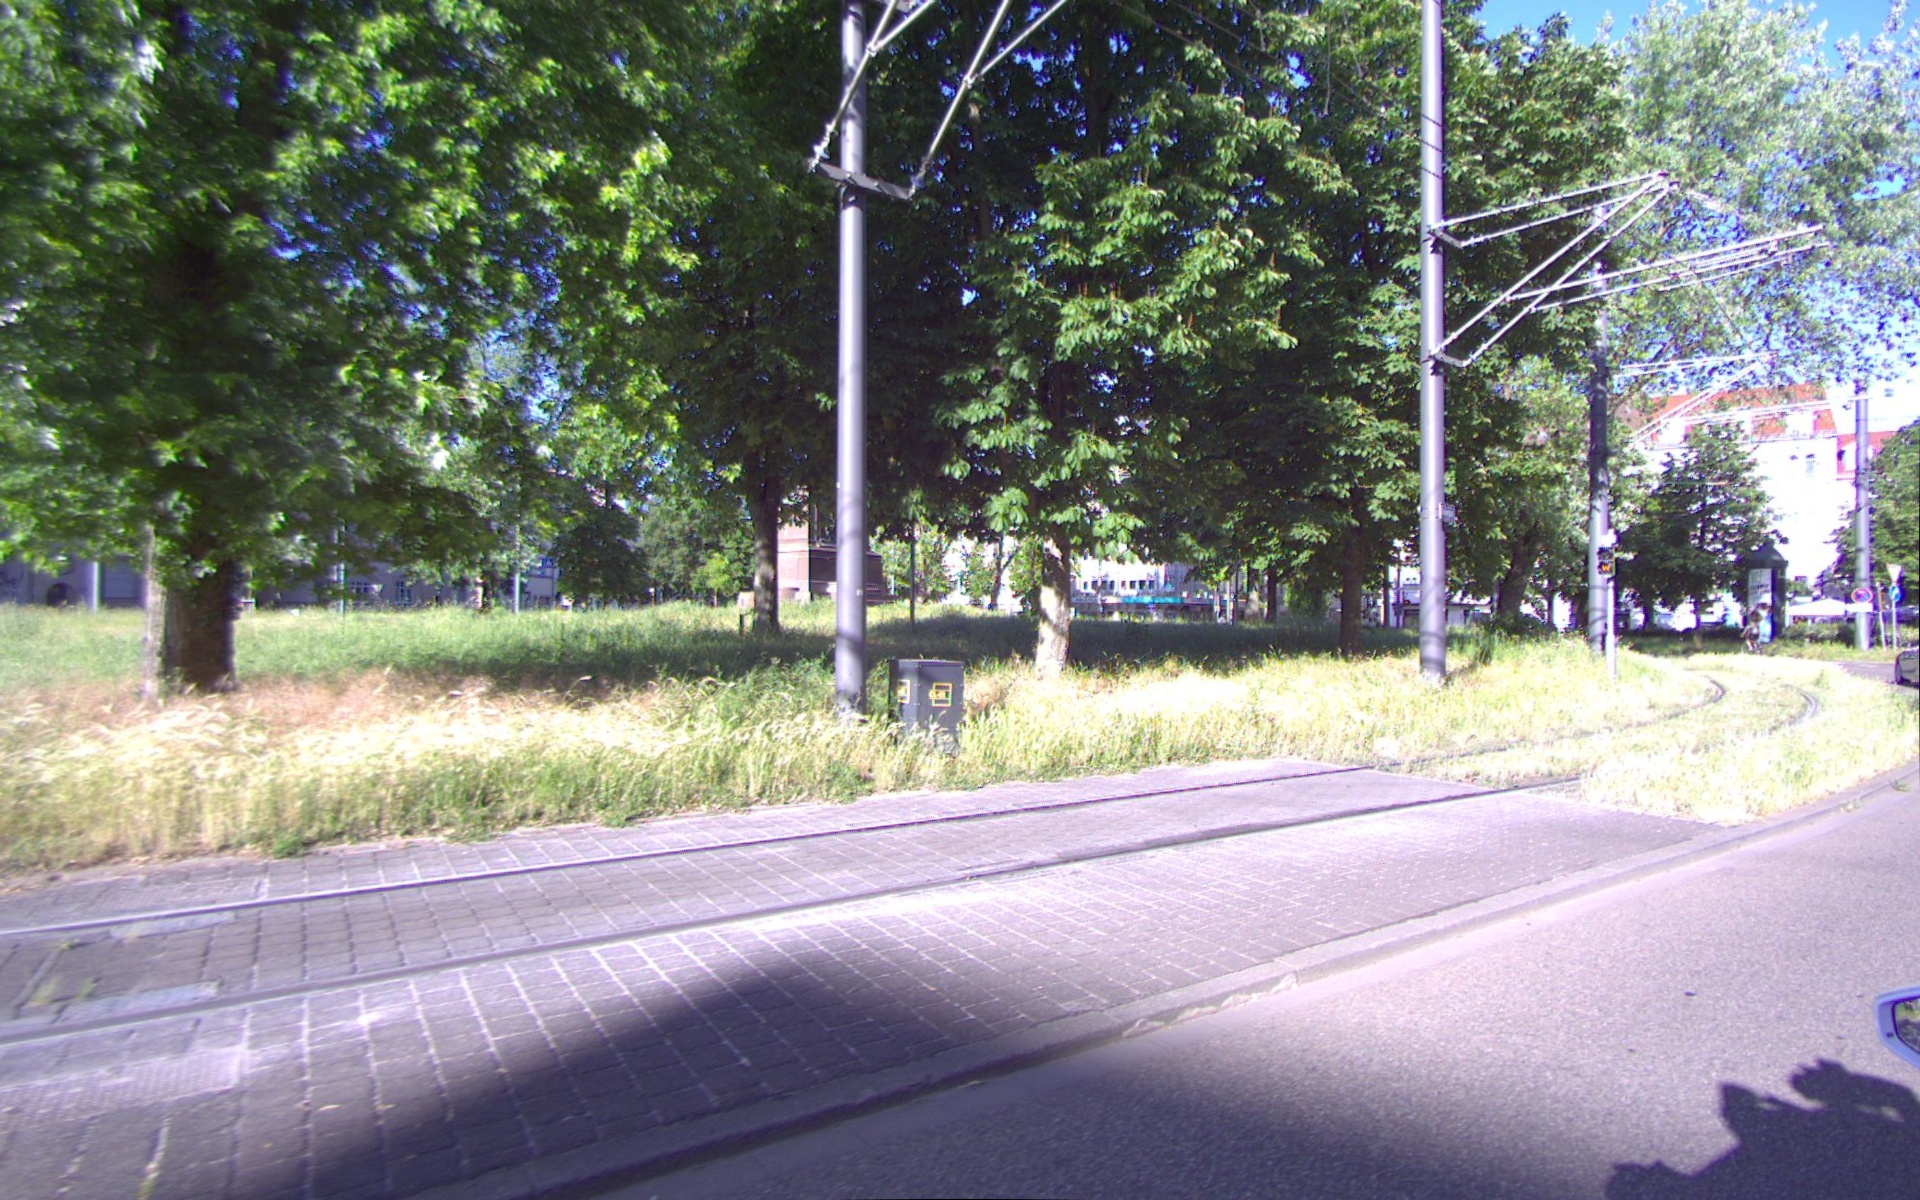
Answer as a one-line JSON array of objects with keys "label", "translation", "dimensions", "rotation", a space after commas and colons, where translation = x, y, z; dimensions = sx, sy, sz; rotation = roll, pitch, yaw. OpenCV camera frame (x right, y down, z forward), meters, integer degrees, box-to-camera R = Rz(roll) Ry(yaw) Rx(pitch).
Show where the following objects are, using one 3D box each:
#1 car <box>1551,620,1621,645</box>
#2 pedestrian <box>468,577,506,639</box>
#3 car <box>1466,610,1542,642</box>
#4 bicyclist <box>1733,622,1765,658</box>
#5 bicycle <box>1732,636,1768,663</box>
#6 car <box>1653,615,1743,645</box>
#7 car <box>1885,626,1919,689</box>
[{"label": "car", "translation": [52.055, 2.719, 83.548], "dimensions": [4.791, 1.828, 1.903], "rotation": [2, 0, 35]}, {"label": "pedestrian", "translation": [-12.838, 0.219, 27.272], "dimensions": [0.661, 1.637, 0.555], "rotation": [2, 0, 4]}, {"label": "car", "translation": [44.539, 2.078, 82.226], "dimensions": [5.263, 2.344, 1.995], "rotation": [2, 0, 34]}, {"label": "bicyclist", "translation": [34.357, 1.737, 43.734], "dimensions": [0.915, 1.527, 0.824], "rotation": [2, 0, 29]}, {"label": "bicycle", "translation": [34.285, 2.140, 43.627], "dimensions": [0.798, 1.083, 2.579], "rotation": [2, 0, 29]}, {"label": "car", "translation": [58.115, 2.347, 79.215], "dimensions": [5.494, 2.040, 1.814], "rotation": [2, 0, 30]}, {"label": "car", "translation": [24.005, 1.412, 24.137], "dimensions": [1.966, 1.442, 4.184], "rotation": [2, 0, 34]}]
